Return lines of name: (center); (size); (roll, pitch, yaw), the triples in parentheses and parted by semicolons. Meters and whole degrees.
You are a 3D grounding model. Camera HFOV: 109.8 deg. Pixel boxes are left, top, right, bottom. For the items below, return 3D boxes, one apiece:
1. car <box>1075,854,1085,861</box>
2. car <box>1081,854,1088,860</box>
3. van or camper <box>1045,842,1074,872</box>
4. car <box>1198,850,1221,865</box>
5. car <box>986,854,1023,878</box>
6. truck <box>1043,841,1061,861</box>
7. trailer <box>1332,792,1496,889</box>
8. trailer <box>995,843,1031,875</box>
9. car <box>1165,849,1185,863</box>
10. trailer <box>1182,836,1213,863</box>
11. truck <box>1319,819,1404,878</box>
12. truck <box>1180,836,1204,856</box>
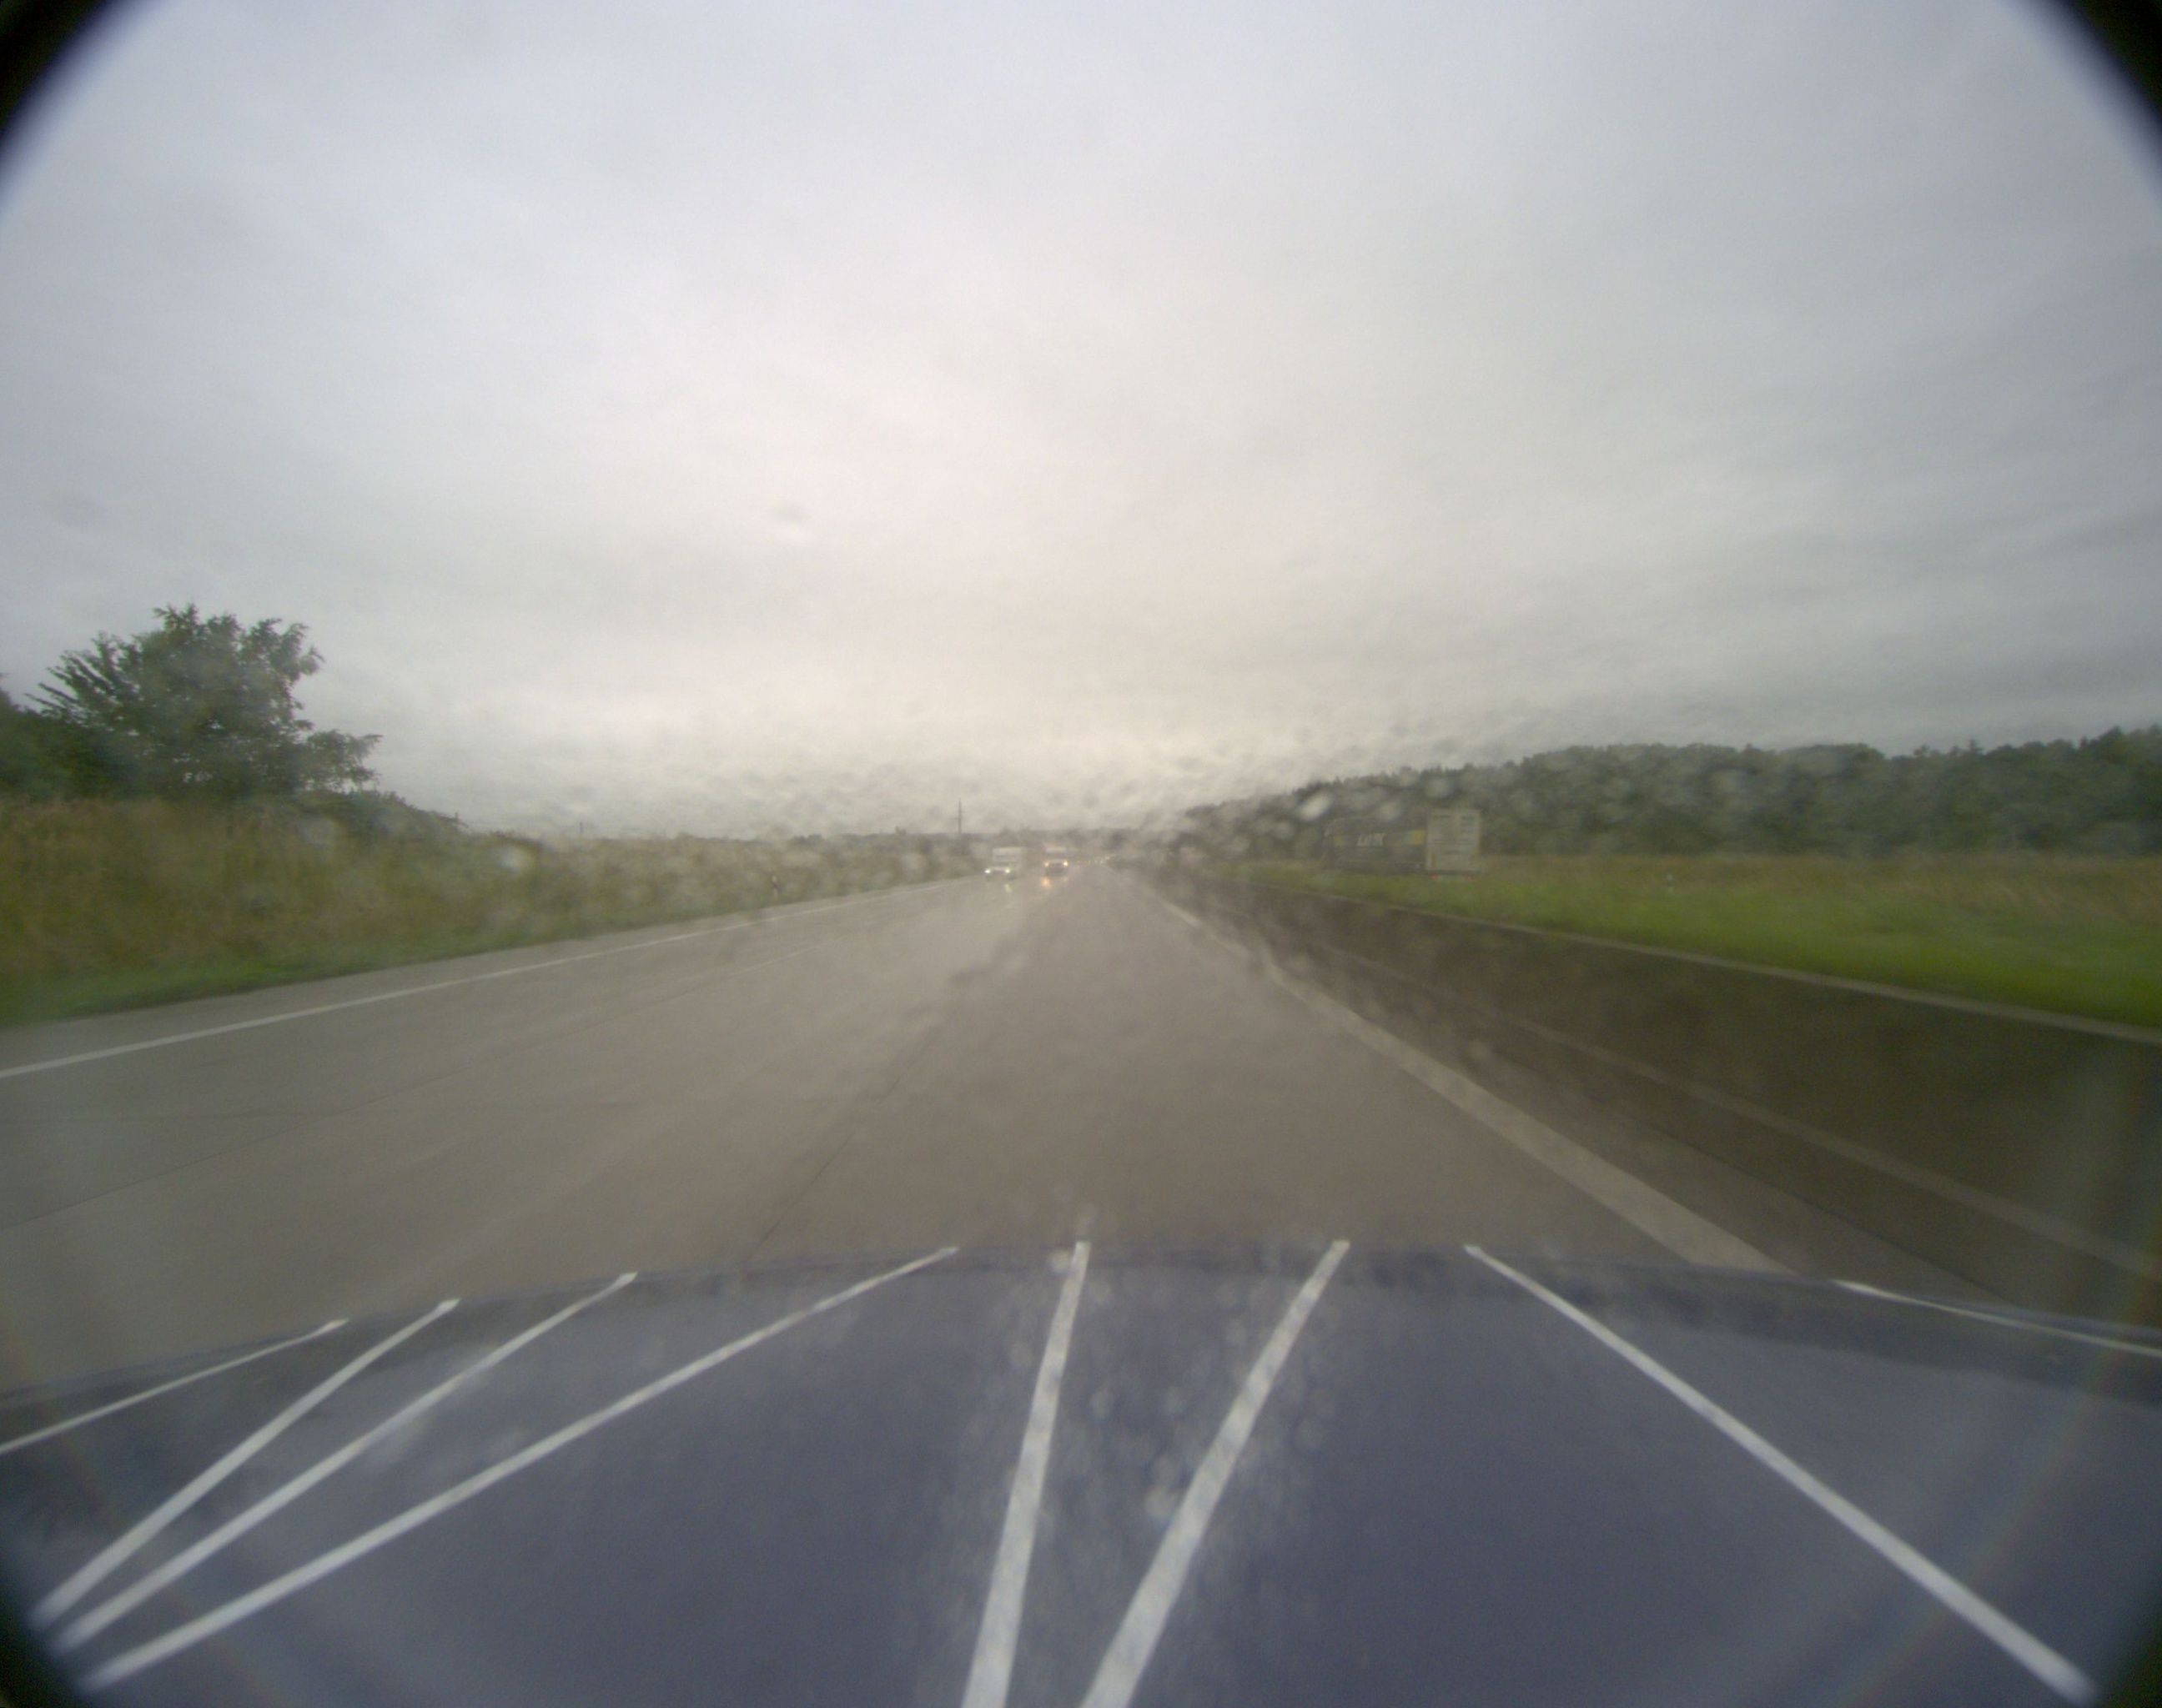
car: (-0.190, 0.833, 172.054); (1.998, 1.576, 5.011); (-1, 0, 2)
car: (1.023, 0.907, 213.916); (1.998, 1.576, 5.011); (-1, 0, 2)
van or camper: (-1.911, 0.258, 69.763); (2.233, 2.537, 7.949); (-1, 0, 1)
car: (14.106, 0.317, 83.695); (1.832, 1.587, 4.000); (-1, 0, 1)
car: (-5.637, 0.851, 56.385); (1.998, 1.576, 5.952); (-2, 1, 1)
truck: (-4.817, -0.574, 126.497); (2.496, 3.197, 7.071); (-1, 0, 1)
trailer: (17.454, -0.755, 41.462); (3.236, 4.316, 13.551); (-2, 1, 2)
trailer: (-5.497, 0.319, 62.345); (2.349, 2.445, 5.938); (0, 2, 1)
car: (11.088, 0.261, 89.903); (1.832, 1.587, 4.000); (-1, 0, 1)
trailer: (18.431, -0.698, 121.197); (3.236, 4.126, 12.621); (-1, 0, 2)
truck: (17.645, -0.356, 48.200); (3.205, 3.453, 6.036); (-1, 1, 1)
truck: (18.581, -1.365, 127.682); (3.261, 3.314, 6.036); (-1, 1, 1)
